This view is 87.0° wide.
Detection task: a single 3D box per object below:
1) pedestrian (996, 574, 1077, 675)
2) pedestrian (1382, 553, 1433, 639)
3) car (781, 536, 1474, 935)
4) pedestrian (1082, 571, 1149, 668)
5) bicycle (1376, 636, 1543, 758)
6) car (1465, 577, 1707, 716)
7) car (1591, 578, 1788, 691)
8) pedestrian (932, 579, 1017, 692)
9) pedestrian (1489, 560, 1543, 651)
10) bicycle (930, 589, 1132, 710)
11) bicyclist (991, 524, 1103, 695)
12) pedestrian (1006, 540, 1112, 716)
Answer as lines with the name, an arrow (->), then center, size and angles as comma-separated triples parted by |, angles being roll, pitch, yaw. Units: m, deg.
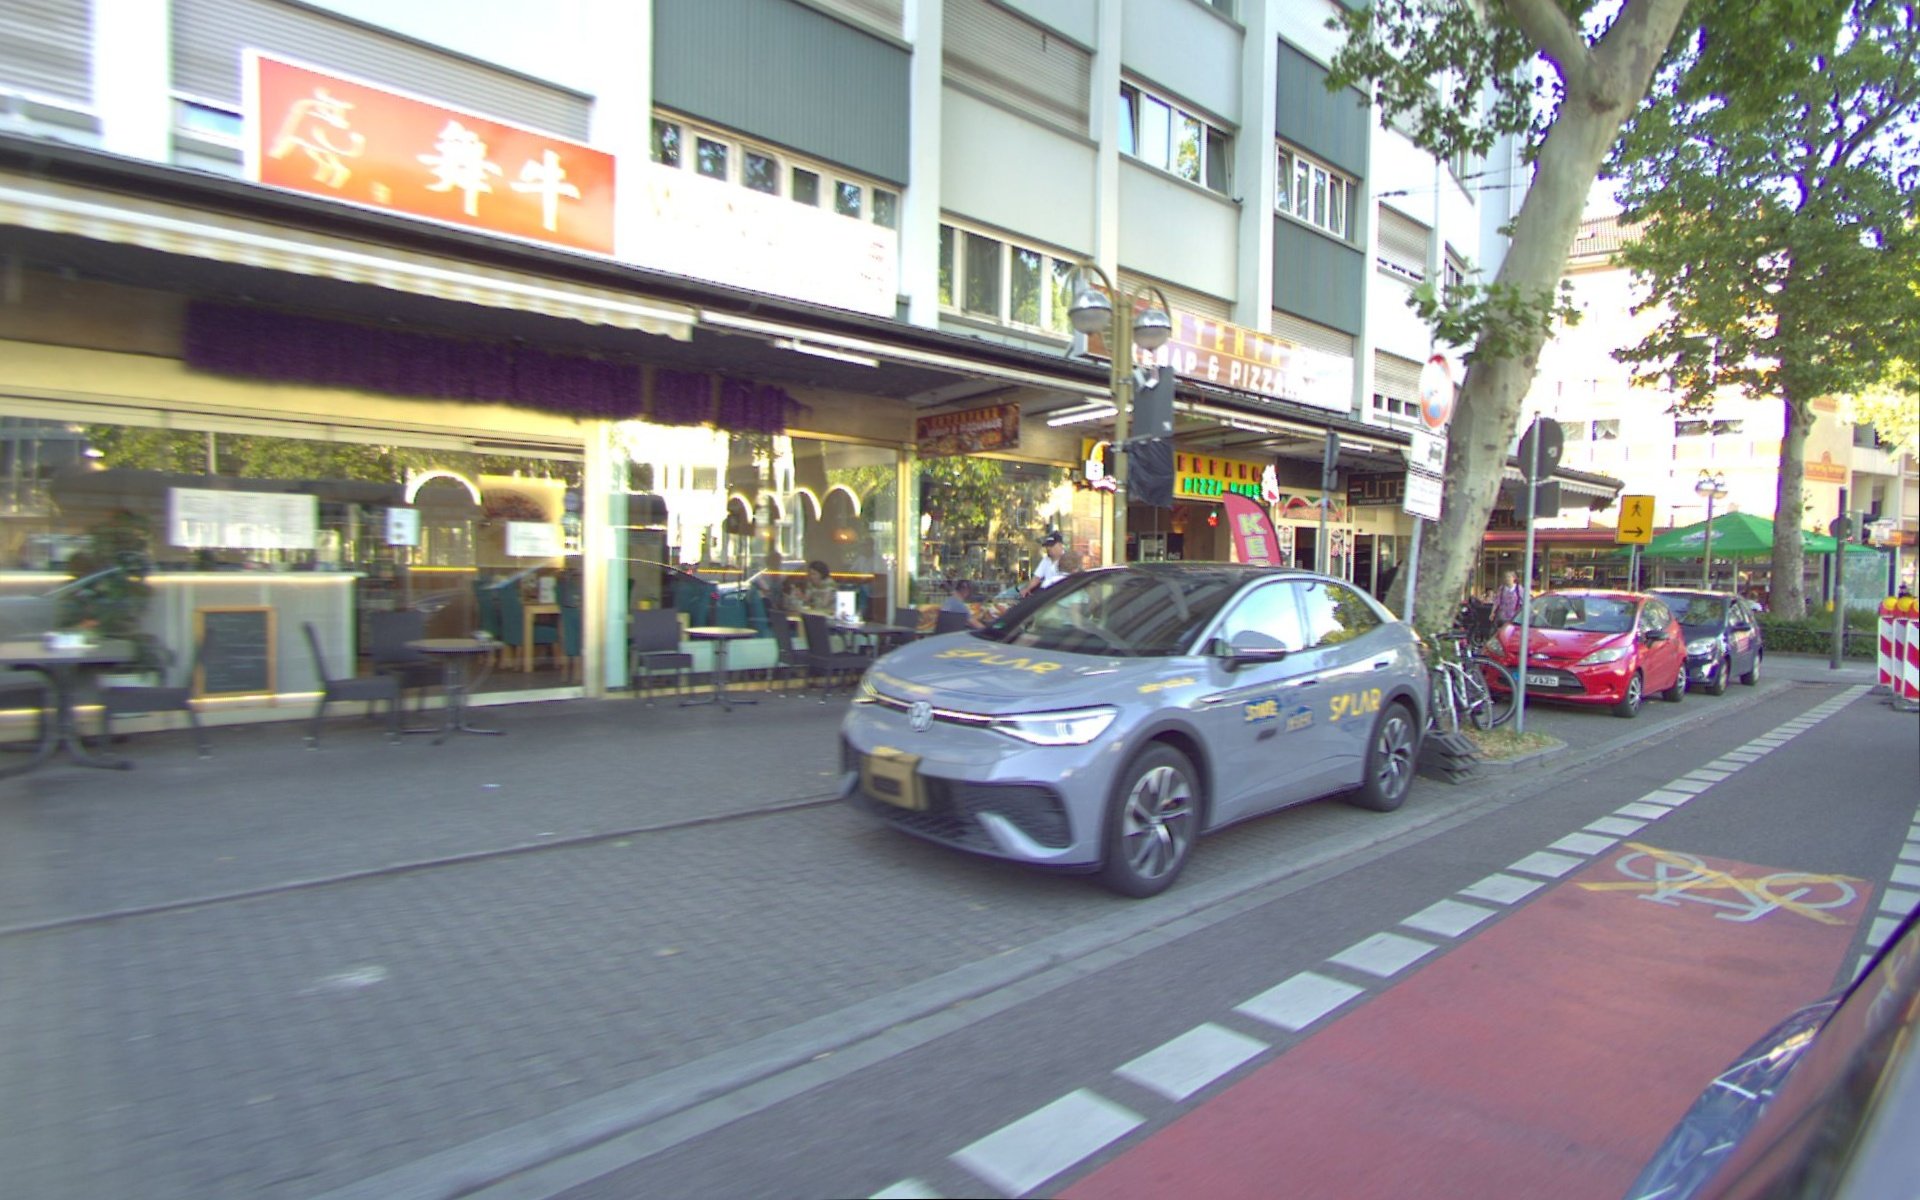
pedestrian -> 0.948, 0.285, 12.545 | 0.698, 1.191, 0.677 | 0, 3, -41
pedestrian -> 9.154, -0.097, 20.700 | 0.666, 1.730, 0.709 | 0, 2, -40
car -> 1.387, 0.496, 6.468 | 4.712, 1.617, 1.920 | -1, 3, -44
pedestrian -> 2.135, 0.254, 13.925 | 0.596, 1.281, 0.646 | 0, 2, -41
bicycle -> 4.595, 0.832, 9.237 | 2.004, 0.895, 0.625 | 0, 4, -42
car -> 8.195, 0.485, 13.113 | 3.918, 1.460, 1.732 | -1, 3, -44
car -> 11.475, 0.452, 15.839 | 3.735, 1.497, 1.658 | 0, 3, -41
pedestrian -> 0.166, 0.388, 11.802 | 0.698, 1.243, 0.677 | 0, 2, -43
pedestrian -> 10.079, 0.089, 18.349 | 0.630, 1.579, 0.584 | 0, 4, -39
bicycle -> 0.801, 0.471, 10.807 | 2.228, 1.117, 0.778 | 0, 4, -42
bicyclist -> 0.934, 0.079, 10.890 | 0.815, 1.729, 0.771 | 0, 4, -41
pedestrian -> 0.948, 0.241, 9.755 | 0.666, 1.605, 0.709 | 0, 3, -42
